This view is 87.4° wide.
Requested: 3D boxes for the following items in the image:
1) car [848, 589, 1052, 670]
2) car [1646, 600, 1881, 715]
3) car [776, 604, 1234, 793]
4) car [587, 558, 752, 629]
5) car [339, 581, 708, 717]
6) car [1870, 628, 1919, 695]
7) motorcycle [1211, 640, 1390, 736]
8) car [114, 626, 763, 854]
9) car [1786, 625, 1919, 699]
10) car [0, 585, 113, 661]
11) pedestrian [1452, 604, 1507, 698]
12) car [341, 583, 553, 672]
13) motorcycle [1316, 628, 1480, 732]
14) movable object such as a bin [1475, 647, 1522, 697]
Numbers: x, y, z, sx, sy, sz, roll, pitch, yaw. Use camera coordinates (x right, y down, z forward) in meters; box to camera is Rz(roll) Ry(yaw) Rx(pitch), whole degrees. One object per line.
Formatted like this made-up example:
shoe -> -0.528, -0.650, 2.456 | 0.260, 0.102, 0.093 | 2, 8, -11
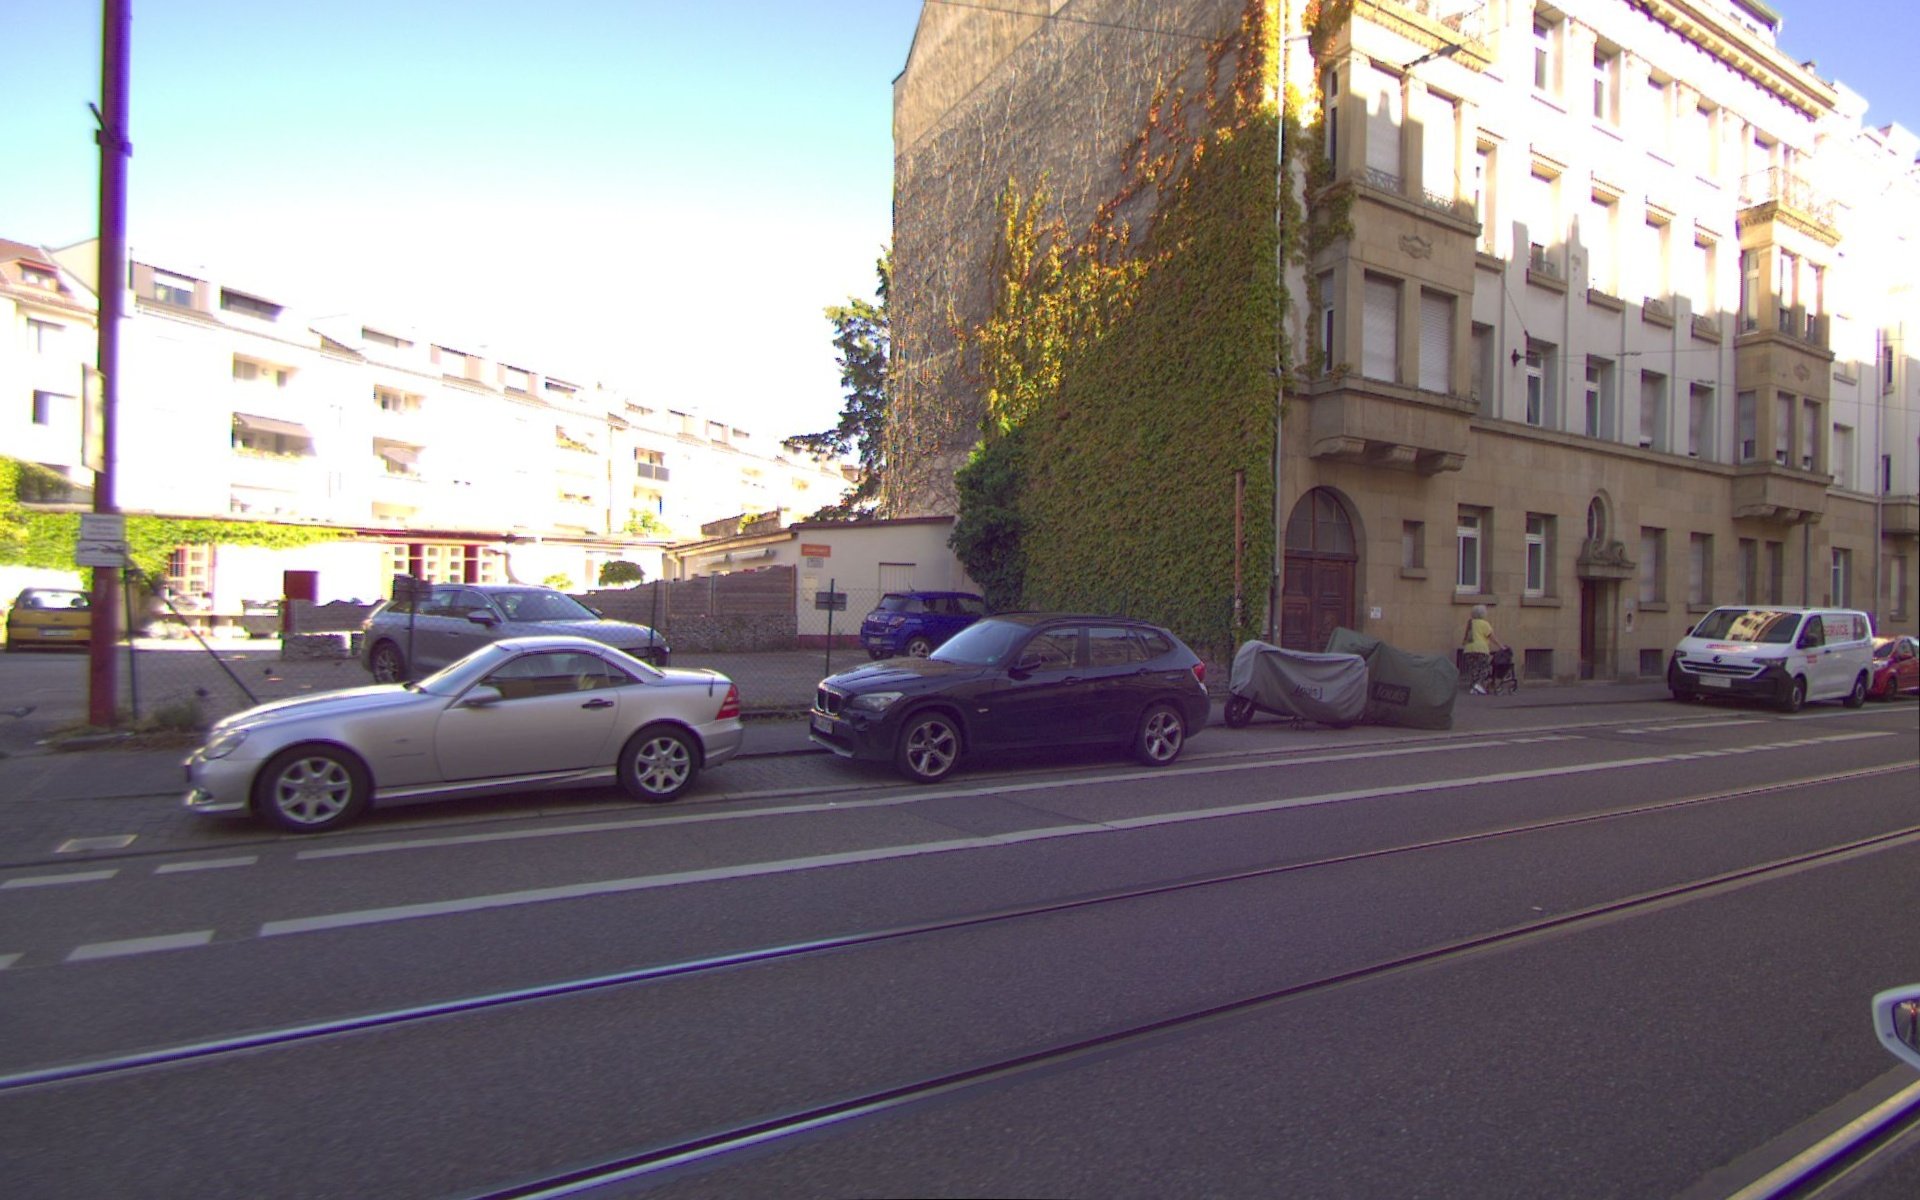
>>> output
car -> -0.183, 0.592, 20.804 | 3.863, 1.546, 1.744 | 1, 0, -30
car -> 16.012, 1.074, 19.941 | 5.193, 1.975, 1.962 | 1, 1, -32
car -> 0.541, 0.908, 10.586 | 4.553, 1.586, 1.775 | 1, 1, -29
car -> -7.810, -0.132, 27.086 | 3.953, 1.773, 1.788 | 1, 0, -30
car -> -5.877, 0.558, 13.447 | 4.708, 1.538, 1.998 | 1, 0, 27
car -> 24.466, 1.513, 24.830 | 4.311, 1.544, 1.773 | 1, 1, -32
motorcycle -> 4.540, 1.165, 13.479 | 2.137, 1.187, 0.742 | 1, 0, 0
car -> -3.892, 0.930, 8.076 | 4.172, 1.331, 1.774 | 1, 1, -31
car -> 20.627, 1.378, 22.909 | 3.604, 1.492, 1.595 | 1, 1, -31
car -> -20.453, 0.471, 22.840 | 1.788, 1.575, 3.953 | 1, 0, -40
pedestrian -> 9.875, 0.954, 19.098 | 0.609, 1.747, 0.676 | 1, 0, -30
car -> -11.106, 0.580, 21.890 | 3.953, 1.773, 1.788 | 1, 0, -30
motorcycle -> 6.191, 1.119, 14.290 | 1.918, 1.369, 0.886 | 1, 0, 2
movable object such as a bin -> 10.390, 1.387, 19.386 | 0.512, 0.912, 0.610 | 1, 0, -30
